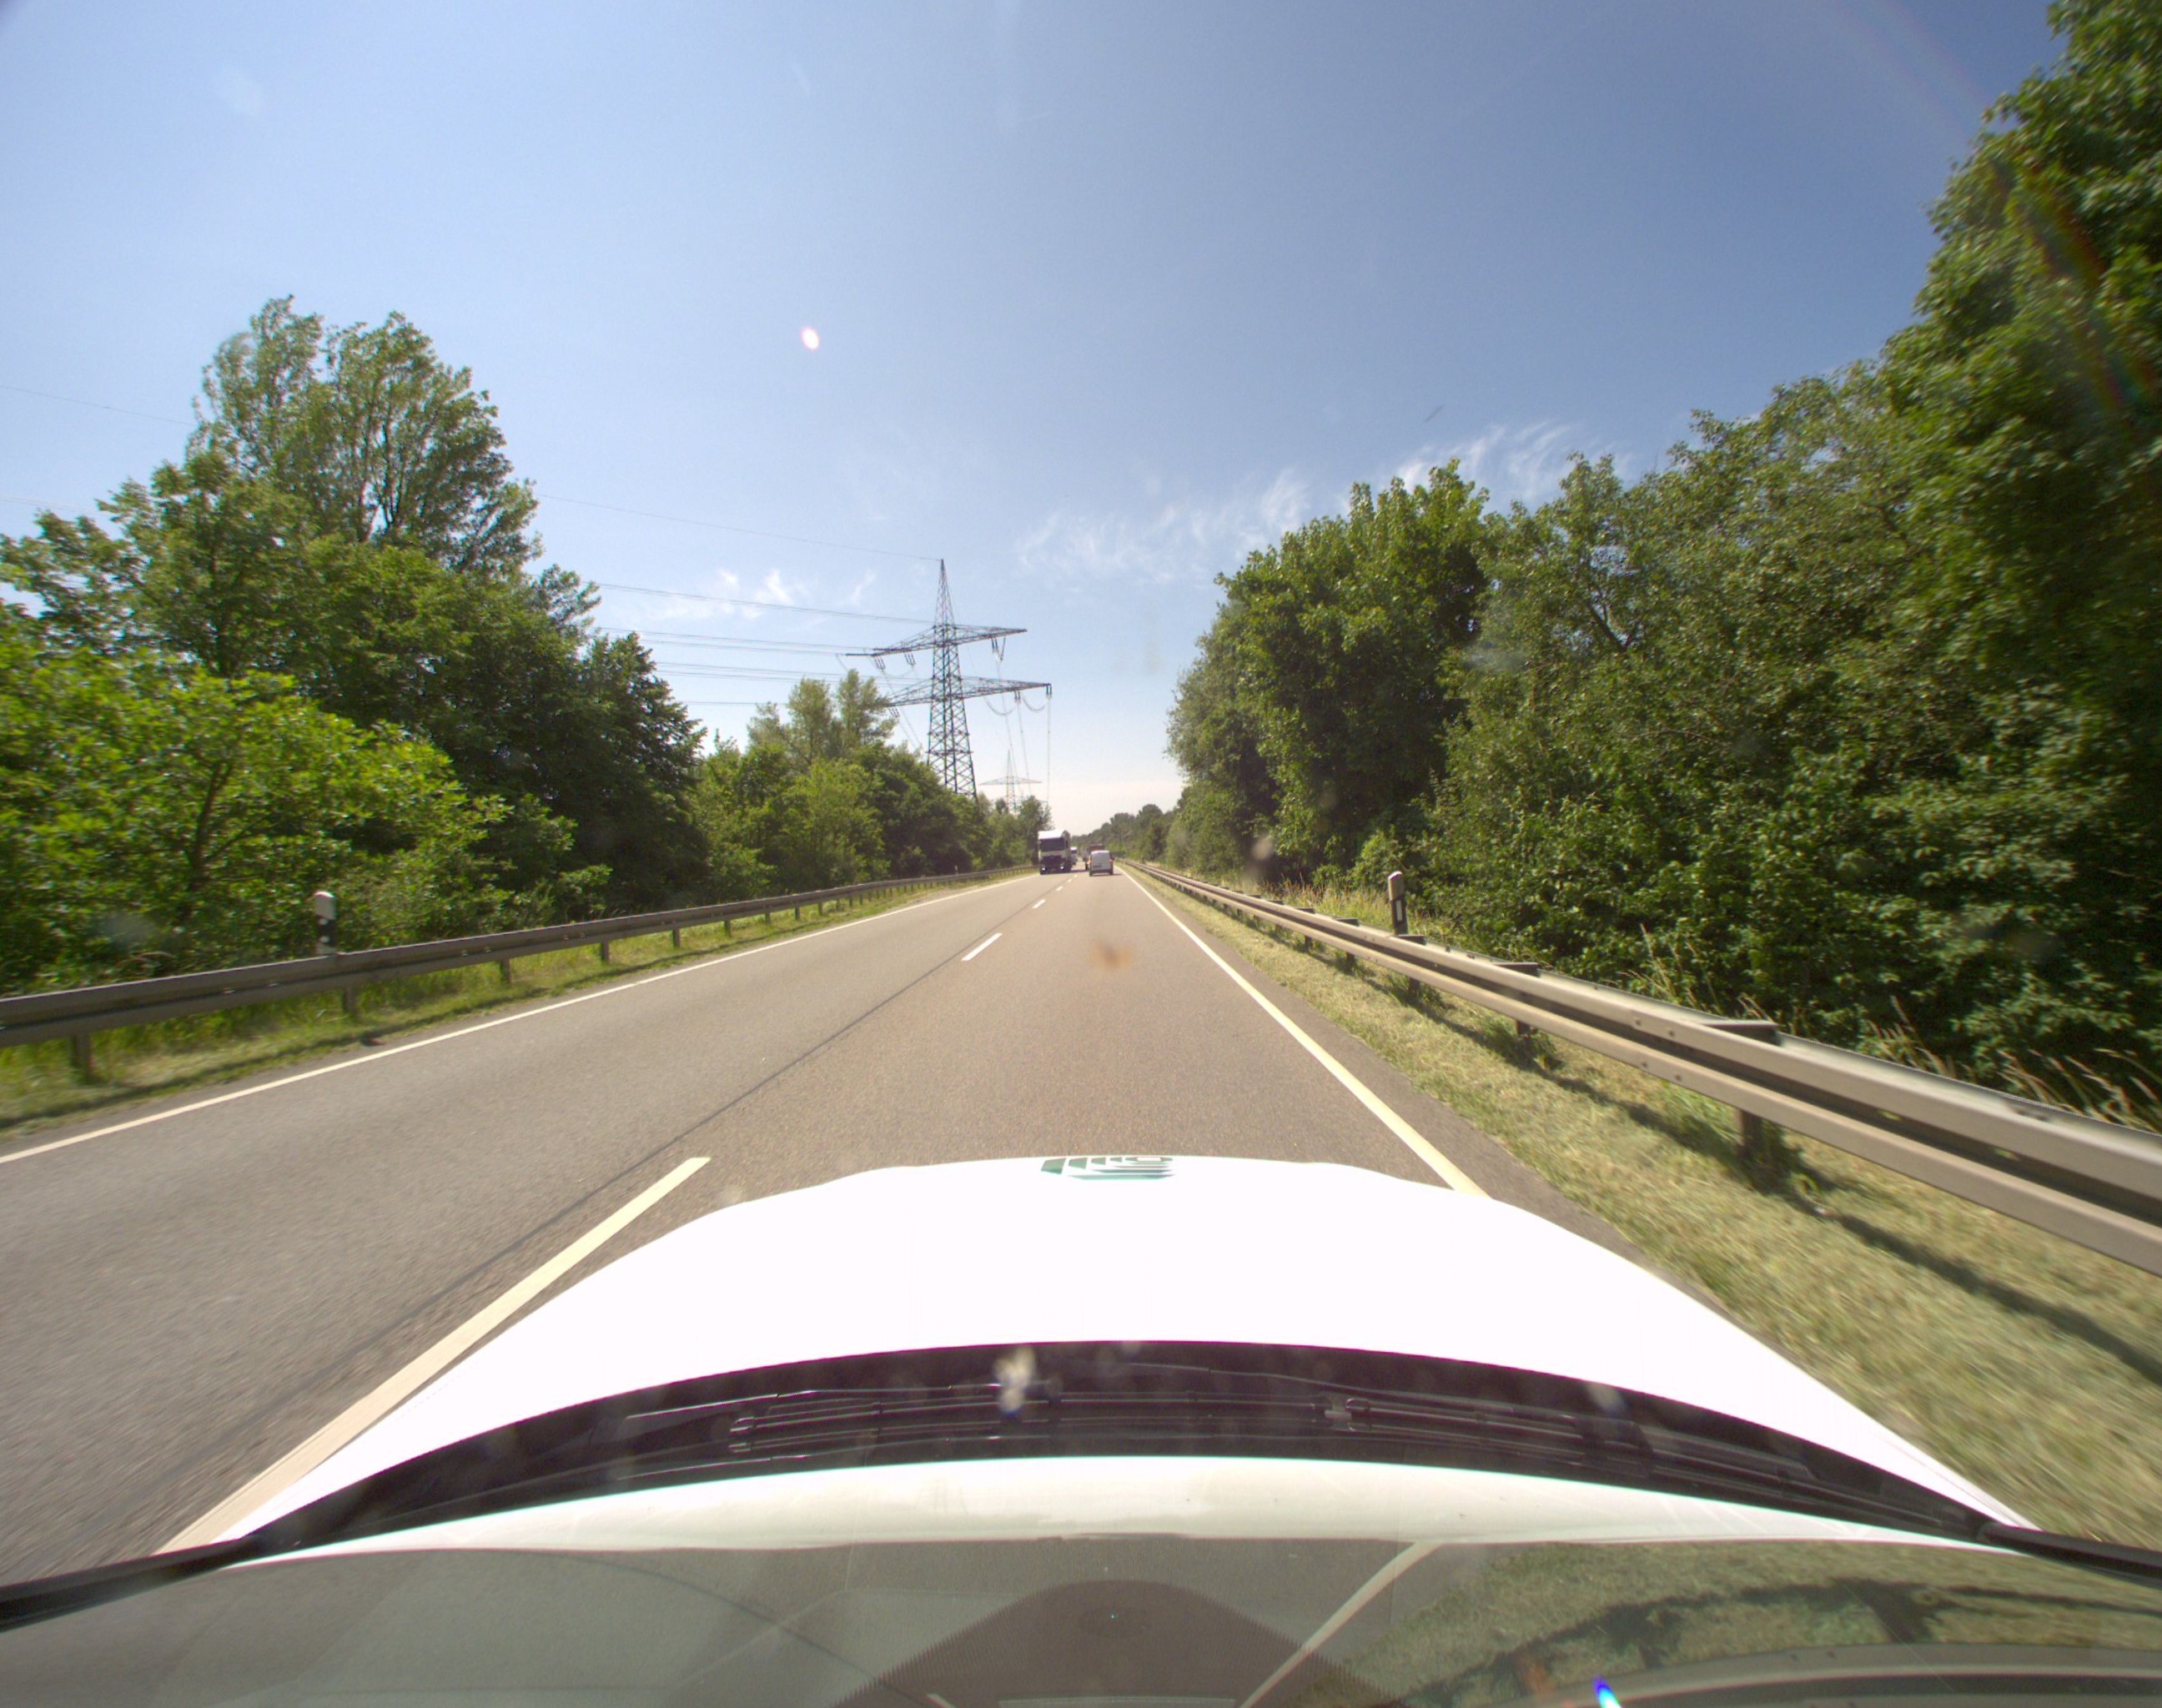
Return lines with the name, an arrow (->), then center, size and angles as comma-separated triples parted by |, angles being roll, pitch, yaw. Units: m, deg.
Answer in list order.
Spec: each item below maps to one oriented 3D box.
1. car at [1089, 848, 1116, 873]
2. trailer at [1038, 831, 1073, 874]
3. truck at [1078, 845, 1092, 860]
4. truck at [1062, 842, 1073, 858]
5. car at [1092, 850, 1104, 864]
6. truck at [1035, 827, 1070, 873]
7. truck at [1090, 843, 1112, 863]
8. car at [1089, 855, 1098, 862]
car -> 1.580, 0.449, 59.409 | 1.868, 1.741, 4.001 | -2, 0, 1
trailer -> -2.435, -0.145, 82.599 | 2.753, 3.999, 13.690 | -1, 0, 1
truck -> 1.119, -0.462, 217.082 | 3.392, 3.854, 16.812 | -1, 1, -1
truck -> -3.818, -1.114, 232.430 | 2.734, 4.042, 9.663 | -4, 0, 0
car -> 2.656, 0.482, 127.522 | 1.758, 2.013, 3.998 | -2, 0, -1
truck -> -2.628, -0.351, 75.739 | 2.753, 3.999, 5.908 | -2, 0, 1
truck -> 3.286, -0.198, 138.854 | 3.287, 3.171, 14.400 | -1, 1, -1
car -> 2.759, 0.977, 184.183 | 1.987, 1.526, 3.999 | -4, 0, 0
